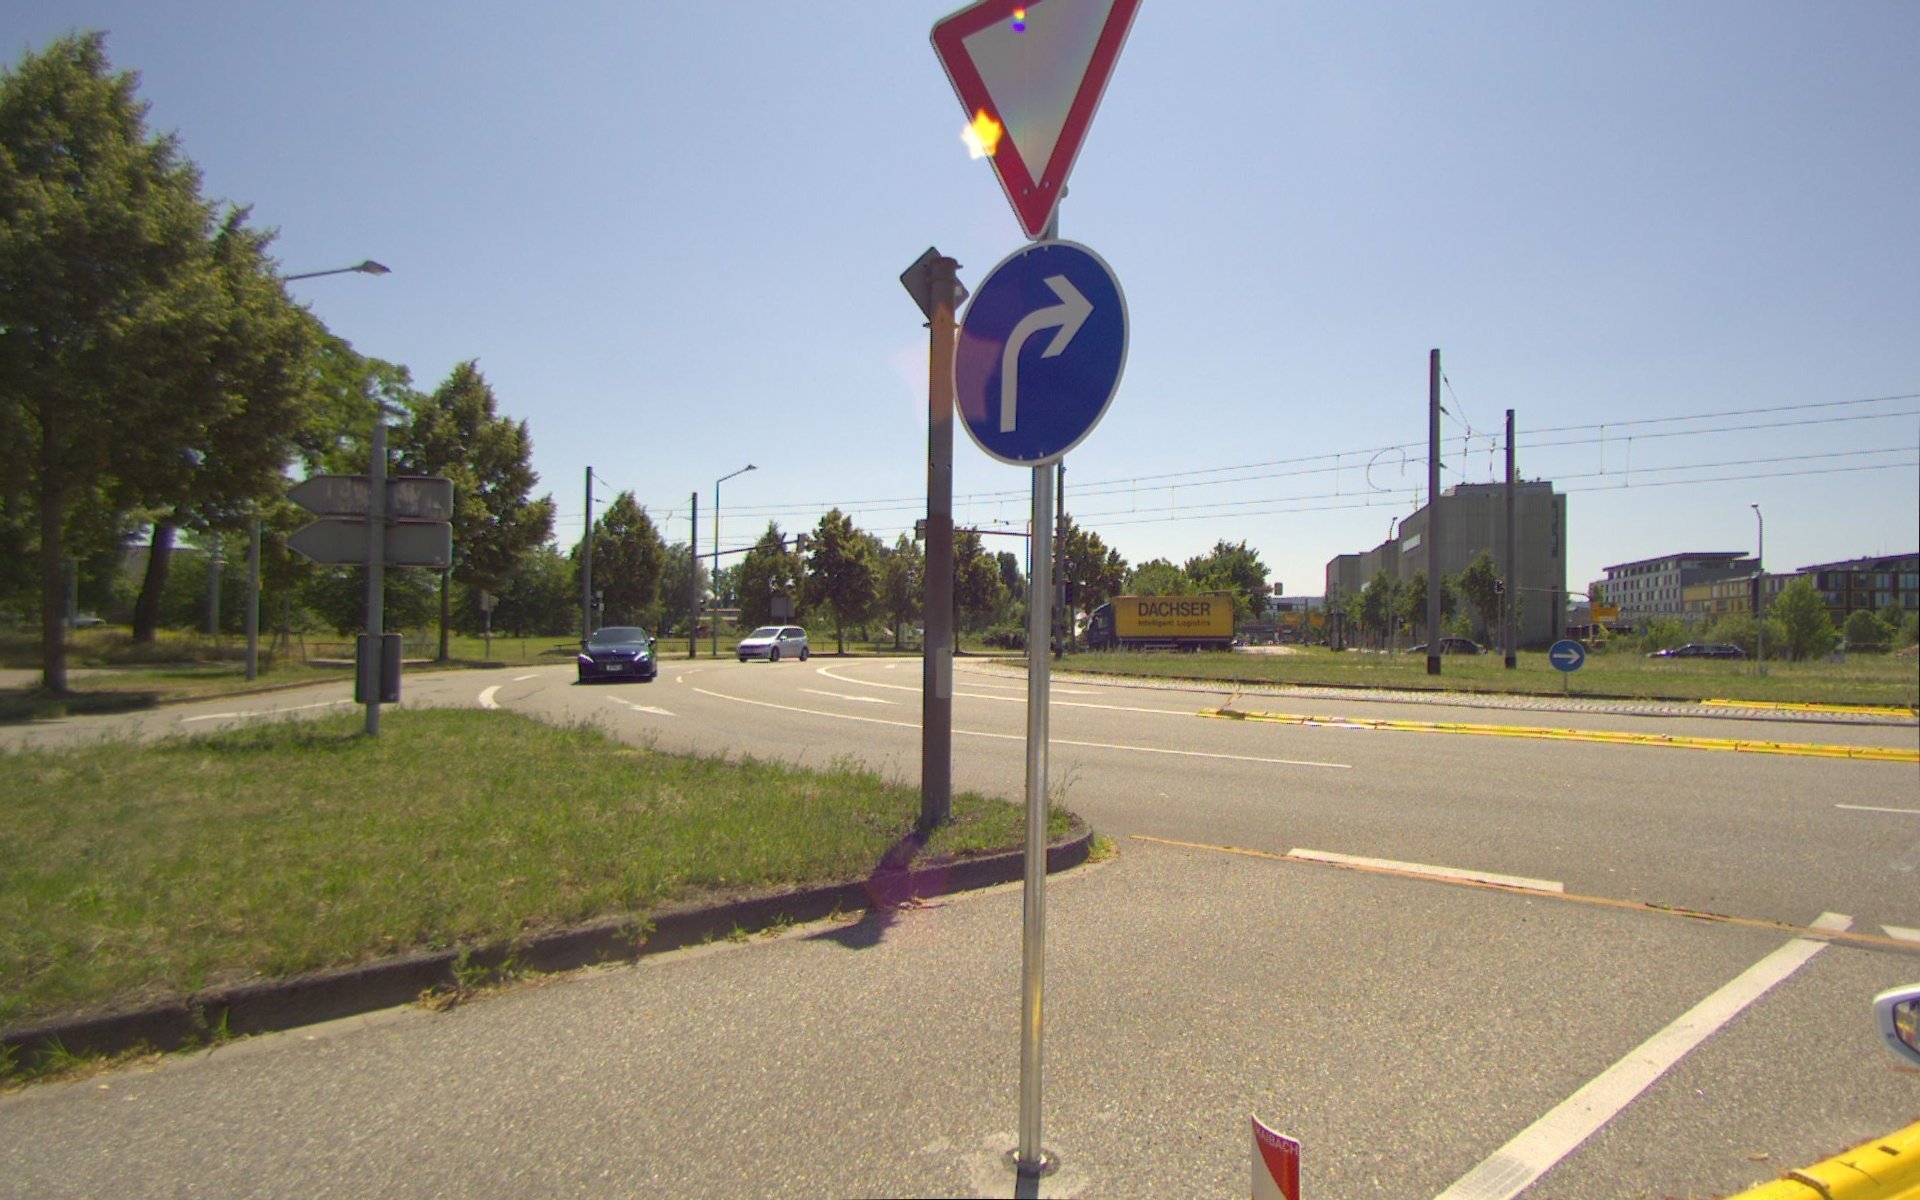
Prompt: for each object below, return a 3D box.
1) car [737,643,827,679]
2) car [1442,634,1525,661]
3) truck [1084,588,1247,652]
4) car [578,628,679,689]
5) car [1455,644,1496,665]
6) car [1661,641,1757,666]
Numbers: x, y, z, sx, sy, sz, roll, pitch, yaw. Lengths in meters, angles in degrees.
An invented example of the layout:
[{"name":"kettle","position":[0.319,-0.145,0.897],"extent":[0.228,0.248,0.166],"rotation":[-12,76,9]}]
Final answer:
[{"name":"car","position":[-8.124,2.777,46.415],"extent":[1.790,1.473,5.023],"rotation":[0,-2,20]},{"name":"car","position":[30.813,2.804,59.238],"extent":[3.966,1.480,1.731],"rotation":[1,-1,8]},{"name":"truck","position":[12.523,1.229,61.673],"extent":[9.426,3.707,2.708],"rotation":[1,-1,-1]},{"name":"car","position":[-8.787,1.507,27.030],"extent":[1.824,1.455,4.947],"rotation":[1,-1,-9]},{"name":"car","position":[46.247,4.860,90.163],"extent":[1.959,1.639,4.003],"rotation":[2,-1,6]},{"name":"car","position":[43.597,3.102,58.500],"extent":[4.413,1.336,1.992],"rotation":[-1,-2,38]}]
